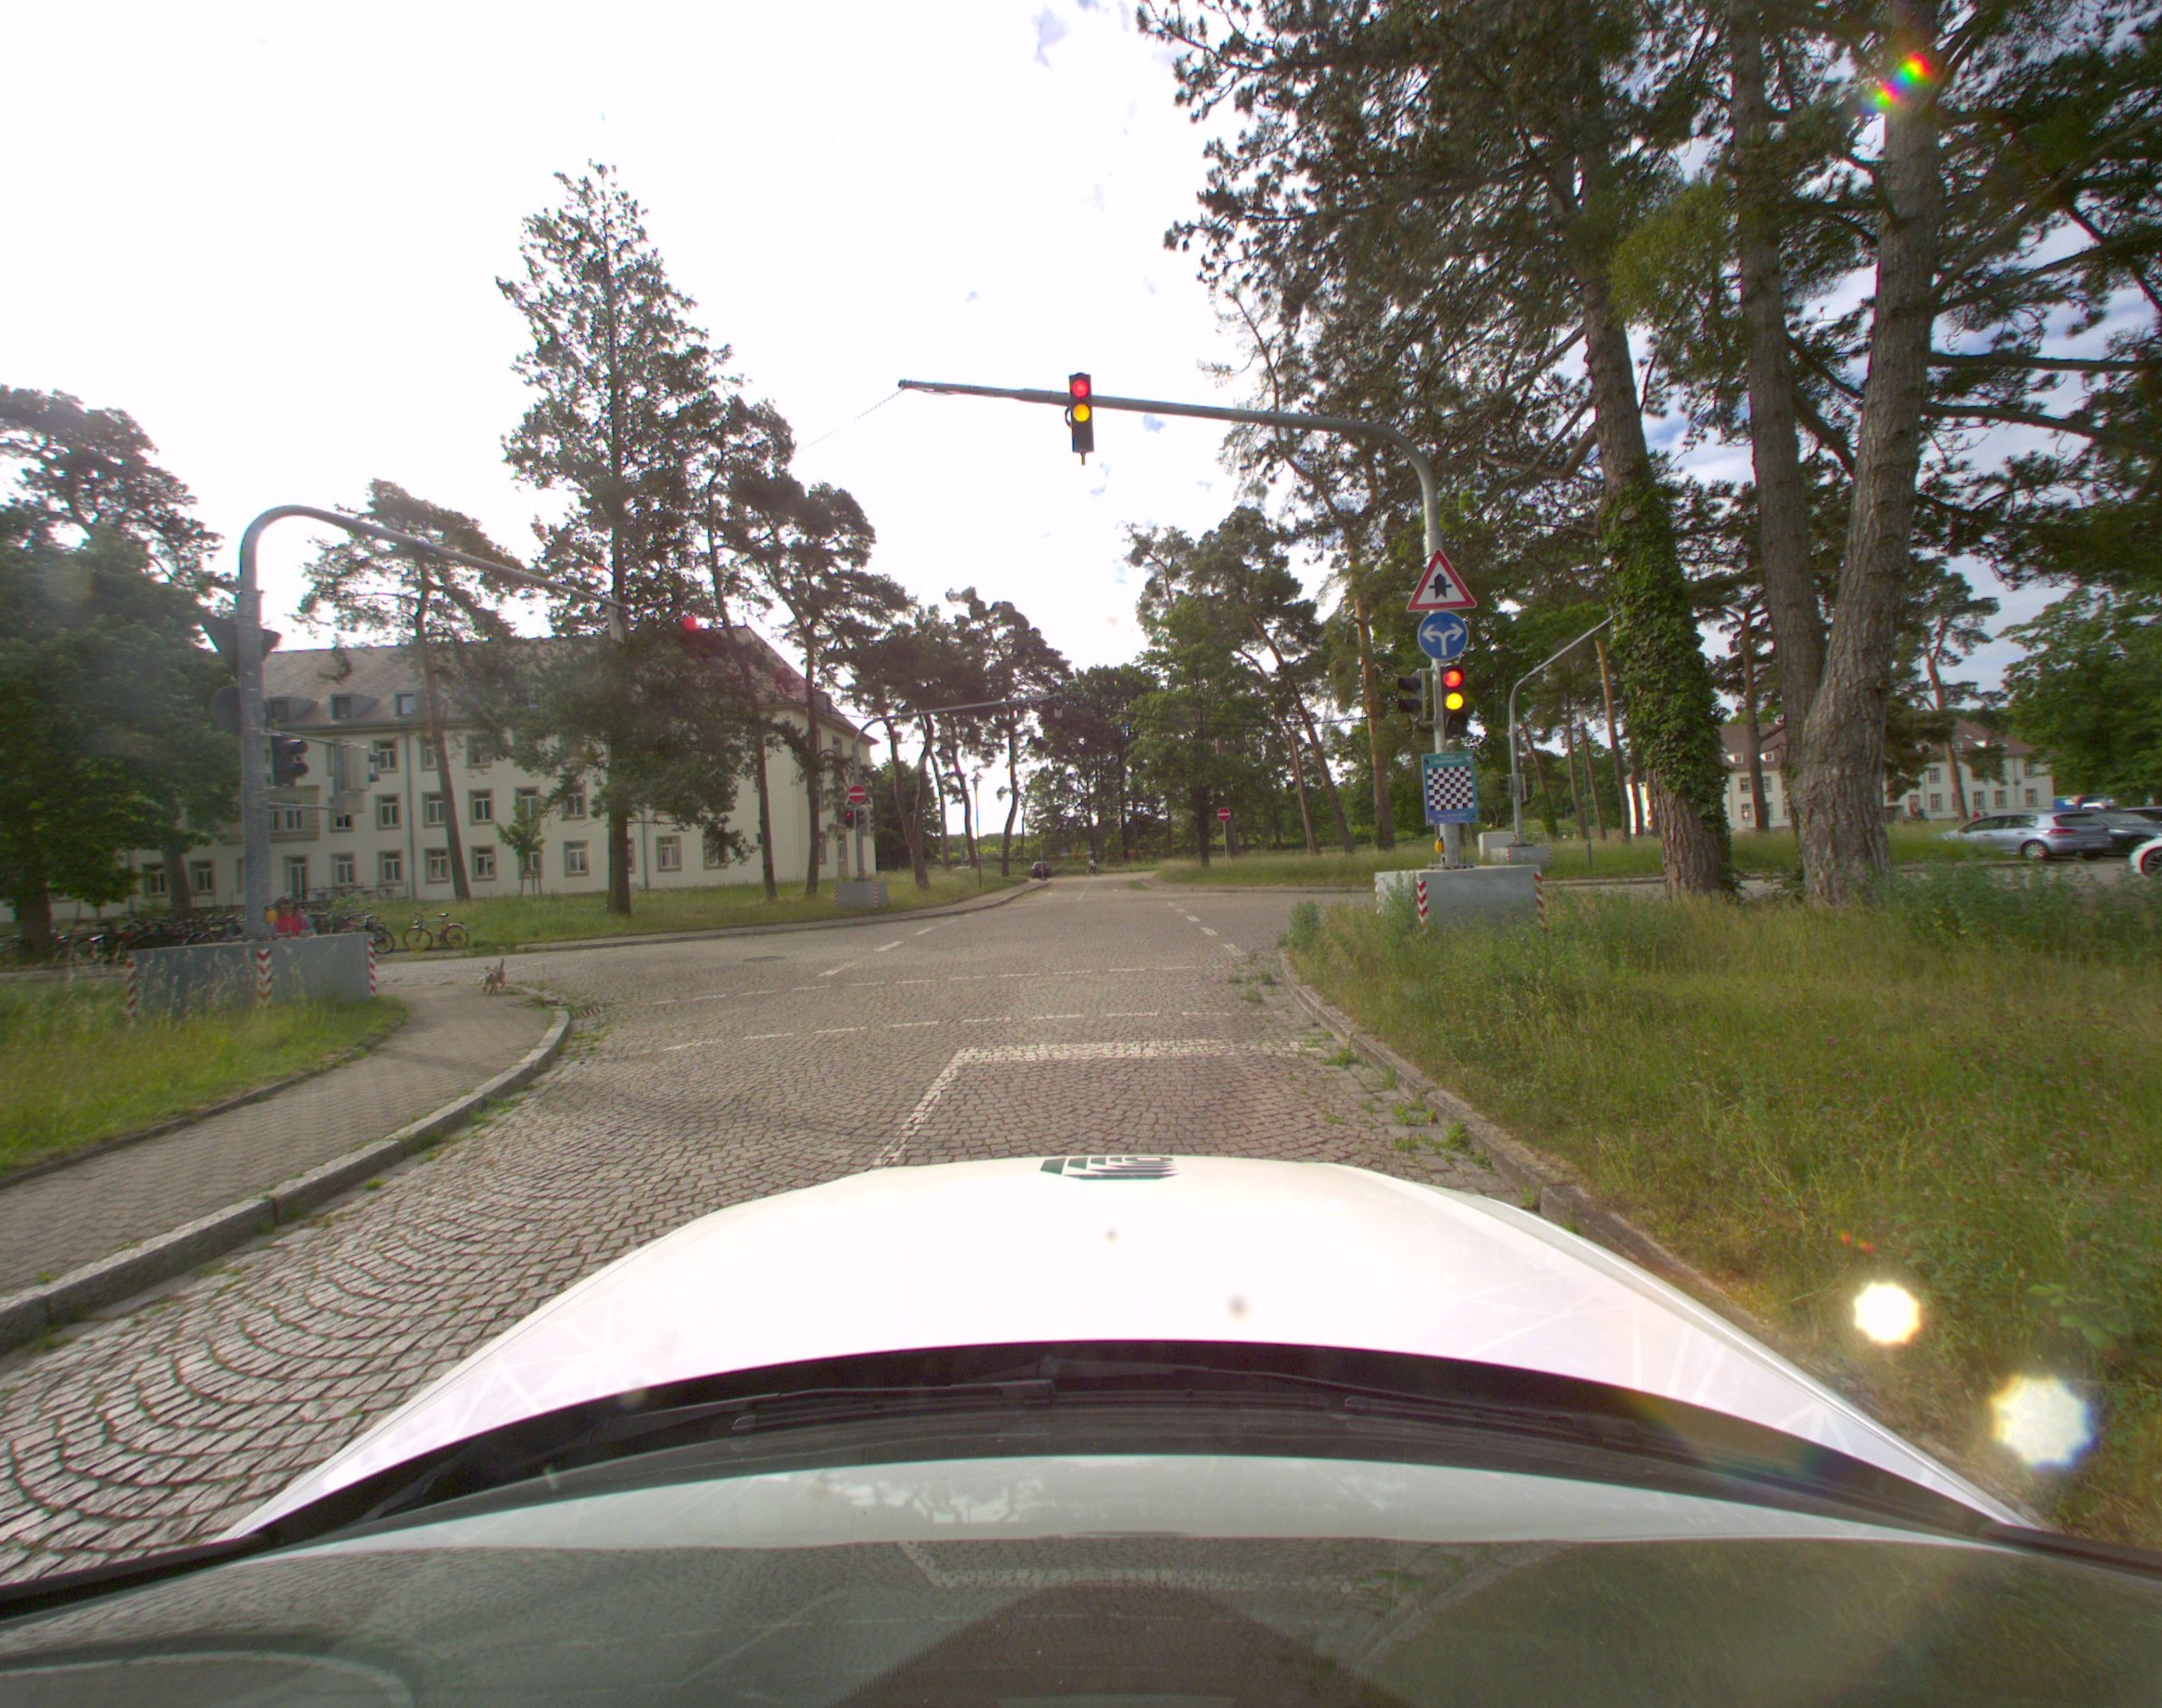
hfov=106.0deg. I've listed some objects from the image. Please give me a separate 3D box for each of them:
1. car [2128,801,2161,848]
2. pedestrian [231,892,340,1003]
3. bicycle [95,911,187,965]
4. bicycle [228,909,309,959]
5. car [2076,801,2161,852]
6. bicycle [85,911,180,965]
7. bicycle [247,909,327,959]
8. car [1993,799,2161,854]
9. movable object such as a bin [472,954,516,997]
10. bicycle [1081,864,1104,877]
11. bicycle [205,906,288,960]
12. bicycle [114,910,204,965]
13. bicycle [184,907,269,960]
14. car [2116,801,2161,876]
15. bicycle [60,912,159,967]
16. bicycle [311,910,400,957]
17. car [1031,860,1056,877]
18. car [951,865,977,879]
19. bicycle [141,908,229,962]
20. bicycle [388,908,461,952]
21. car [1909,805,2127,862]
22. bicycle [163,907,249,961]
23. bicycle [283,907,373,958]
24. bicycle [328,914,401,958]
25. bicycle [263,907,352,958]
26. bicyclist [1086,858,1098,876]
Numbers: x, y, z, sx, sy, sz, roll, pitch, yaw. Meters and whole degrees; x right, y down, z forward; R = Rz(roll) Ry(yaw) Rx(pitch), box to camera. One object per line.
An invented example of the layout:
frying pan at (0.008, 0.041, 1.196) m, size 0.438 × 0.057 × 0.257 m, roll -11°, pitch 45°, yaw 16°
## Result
car at (36.435, -1.027, 25.385) m, size 1.748 × 1.524 × 4.445 m, roll -3°, pitch 0°, yaw -2°
pedestrian at (-12.939, 1.501, 13.270) m, size 0.852 × 1.668 × 0.945 m, roll -3°, pitch -1°, yaw 22°
bicycle at (-25.433, 2.255, 22.078) m, size 0.447 × 1.283 × 1.695 m, roll -3°, pitch 0°, yaw 0°
bicycle at (-21.989, 2.147, 22.085) m, size 0.447 × 1.178 × 1.695 m, roll -3°, pitch 0°, yaw 0°
car at (33.978, -0.891, 24.838) m, size 1.748 × 1.524 × 4.445 m, roll -3°, pitch 0°, yaw -2°
bicycle at (-25.899, 2.273, 22.281) m, size 0.441 × 1.283 × 1.785 m, roll -3°, pitch 0°, yaw 0°
bicycle at (-21.503, 2.145, 22.101) m, size 0.447 × 1.178 × 1.695 m, roll -3°, pitch 0°, yaw 0°
car at (31.326, -0.811, 24.919) m, size 1.748 × 1.524 × 4.443 m, roll -3°, pitch 0°, yaw -2°
movable object such as a bin at (-8.609, 1.772, 11.954) m, size 0.446 × 0.503 × 0.744 m, roll -3°, pitch 0°, yaw -31°
bicycle at (1.005, 1.455, 72.671) m, size 1.981 × 1.095 × 0.809 m, roll -3°, pitch 0°, yaw -3°
bicycle at (-22.701, 2.118, 22.199) m, size 0.447 × 1.283 × 1.695 m, roll -3°, pitch 0°, yaw 0°
bicycle at (-24.947, 2.240, 22.085) m, size 0.447 × 1.283 × 1.695 m, roll -3°, pitch 0°, yaw 0°
bicycle at (-23.206, 2.134, 22.163) m, size 0.447 × 1.283 × 1.695 m, roll -3°, pitch 0°, yaw 0°
car at (21.371, -0.372, 13.856) m, size 1.748 × 1.415 × 4.444 m, roll -3°, pitch -1°, yaw -2°
bicycle at (-26.365, 2.286, 22.153) m, size 0.447 × 1.283 × 1.827 m, roll -3°, pitch 0°, yaw 0°
bicycle at (-19.709, 2.143, 22.189) m, size 0.573 × 1.078 × 1.996 m, roll -3°, pitch 0°, yaw 0°
car at (-3.561, 1.396, 77.822) m, size 1.985 × 1.508 × 4.003 m, roll -1°, pitch 0°, yaw 3°
car at (-11.292, 1.724, 78.874) m, size 1.682 × 1.156 × 4.003 m, roll -3°, pitch 0°, yaw 3°
bicycle at (-24.284, 2.167, 22.106) m, size 0.447 × 1.283 × 1.695 m, roll -3°, pitch 0°, yaw 0°
bicycle at (-16.690, 1.929, 20.718) m, size 1.453 × 0.996 × 0.452 m, roll -3°, pitch -1°, yaw 2°
car at (28.914, -0.587, 25.391) m, size 1.745 × 1.524 × 4.451 m, roll -3°, pitch 0°, yaw 3°
bicycle at (-23.721, 2.149, 22.124) m, size 0.447 × 1.283 × 1.695 m, roll -3°, pitch 0°, yaw 0°
bicycle at (-20.407, 2.098, 22.119) m, size 0.573 × 1.178 × 1.954 m, roll -3°, pitch 0°, yaw 0°
bicycle at (-18.210, 2.080, 20.710) m, size 1.453 × 0.996 × 0.452 m, roll -3°, pitch -1°, yaw 2°
bicycle at (-20.990, 2.117, 22.153) m, size 0.526 × 1.178 × 1.930 m, roll -3°, pitch 0°, yaw 0°
bicyclist at (0.979, 1.132, 72.670) m, size 0.972 × 1.510 × 0.807 m, roll -3°, pitch 0°, yaw -2°
